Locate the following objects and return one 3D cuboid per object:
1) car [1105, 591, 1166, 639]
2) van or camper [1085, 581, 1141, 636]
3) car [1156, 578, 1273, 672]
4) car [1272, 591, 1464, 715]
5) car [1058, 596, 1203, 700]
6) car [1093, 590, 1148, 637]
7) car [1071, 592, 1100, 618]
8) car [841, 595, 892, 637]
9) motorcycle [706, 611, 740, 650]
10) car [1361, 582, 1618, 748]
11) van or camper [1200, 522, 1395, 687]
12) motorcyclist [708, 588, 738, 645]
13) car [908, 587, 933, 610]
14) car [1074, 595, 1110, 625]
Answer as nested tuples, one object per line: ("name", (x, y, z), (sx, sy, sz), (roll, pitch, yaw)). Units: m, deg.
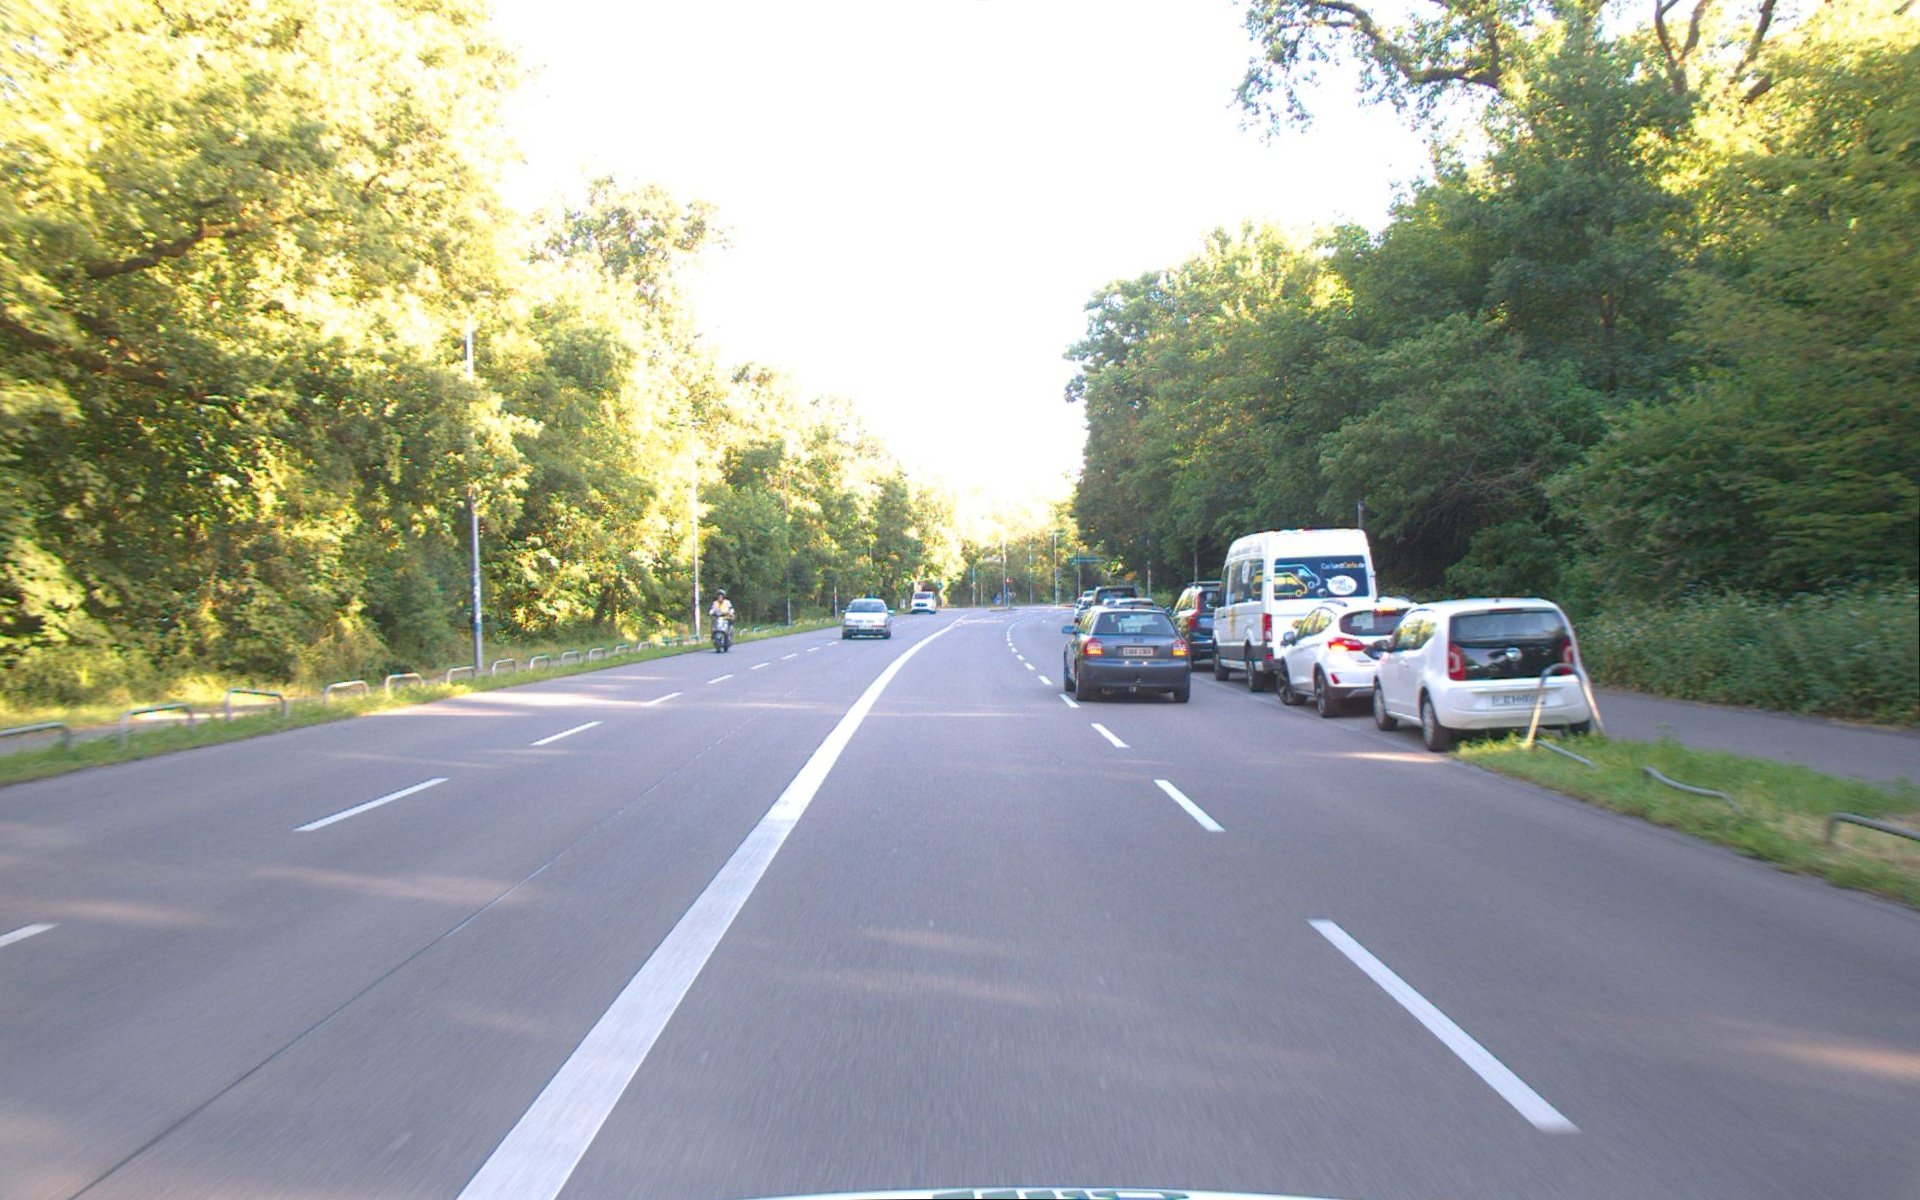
("car", (5.727, 0.466, 54.363), (1.692, 1.466, 4.101), (-1, 0, 2))
("van or camper", (6.025, 0.315, 65.474), (1.853, 1.982, 5.135), (-3, 0, 2))
("car", (5.510, 0.501, 36.369), (1.792, 1.900, 5.074), (-1, 0, 0))
("car", (5.489, 0.654, 22.741), (1.687, 1.522, 4.146), (-1, 0, 1))
("car", (2.532, 0.669, 25.411), (1.693, 1.467, 4.088), (0, 0, -2))
("car", (5.762, 0.460, 59.728), (1.692, 1.571, 4.218), (-1, 0, 2))
("car", (7.783, 0.314, 102.319), (1.691, 1.549, 4.092), (-3, -1, 5))
("car", (-3.375, 0.558, 60.497), (1.647, 1.431, 3.889), (-1, 0, 0))
("motorcycle", (-6.460, 0.825, 45.128), (0.623, 1.013, 2.077), (0, 0, 0))
("car", (5.610, 0.622, 17.983), (1.687, 1.522, 3.776), (-3, 0, 3))
("van or camper", (5.757, 0.054, 29.052), (2.076, 2.561, 5.979), (-1, 0, -1))
("motorcyclist", (-6.467, 0.449, 45.077), (0.710, 1.531, 0.672), (-1, 0, -1))
("car", (-3.532, -0.112, 148.563), (1.952, 2.027, 4.998), (-1, 0, 1))
("car", (6.993, 0.531, 87.803), (1.692, 1.466, 4.668), (-3, 0, 3))
